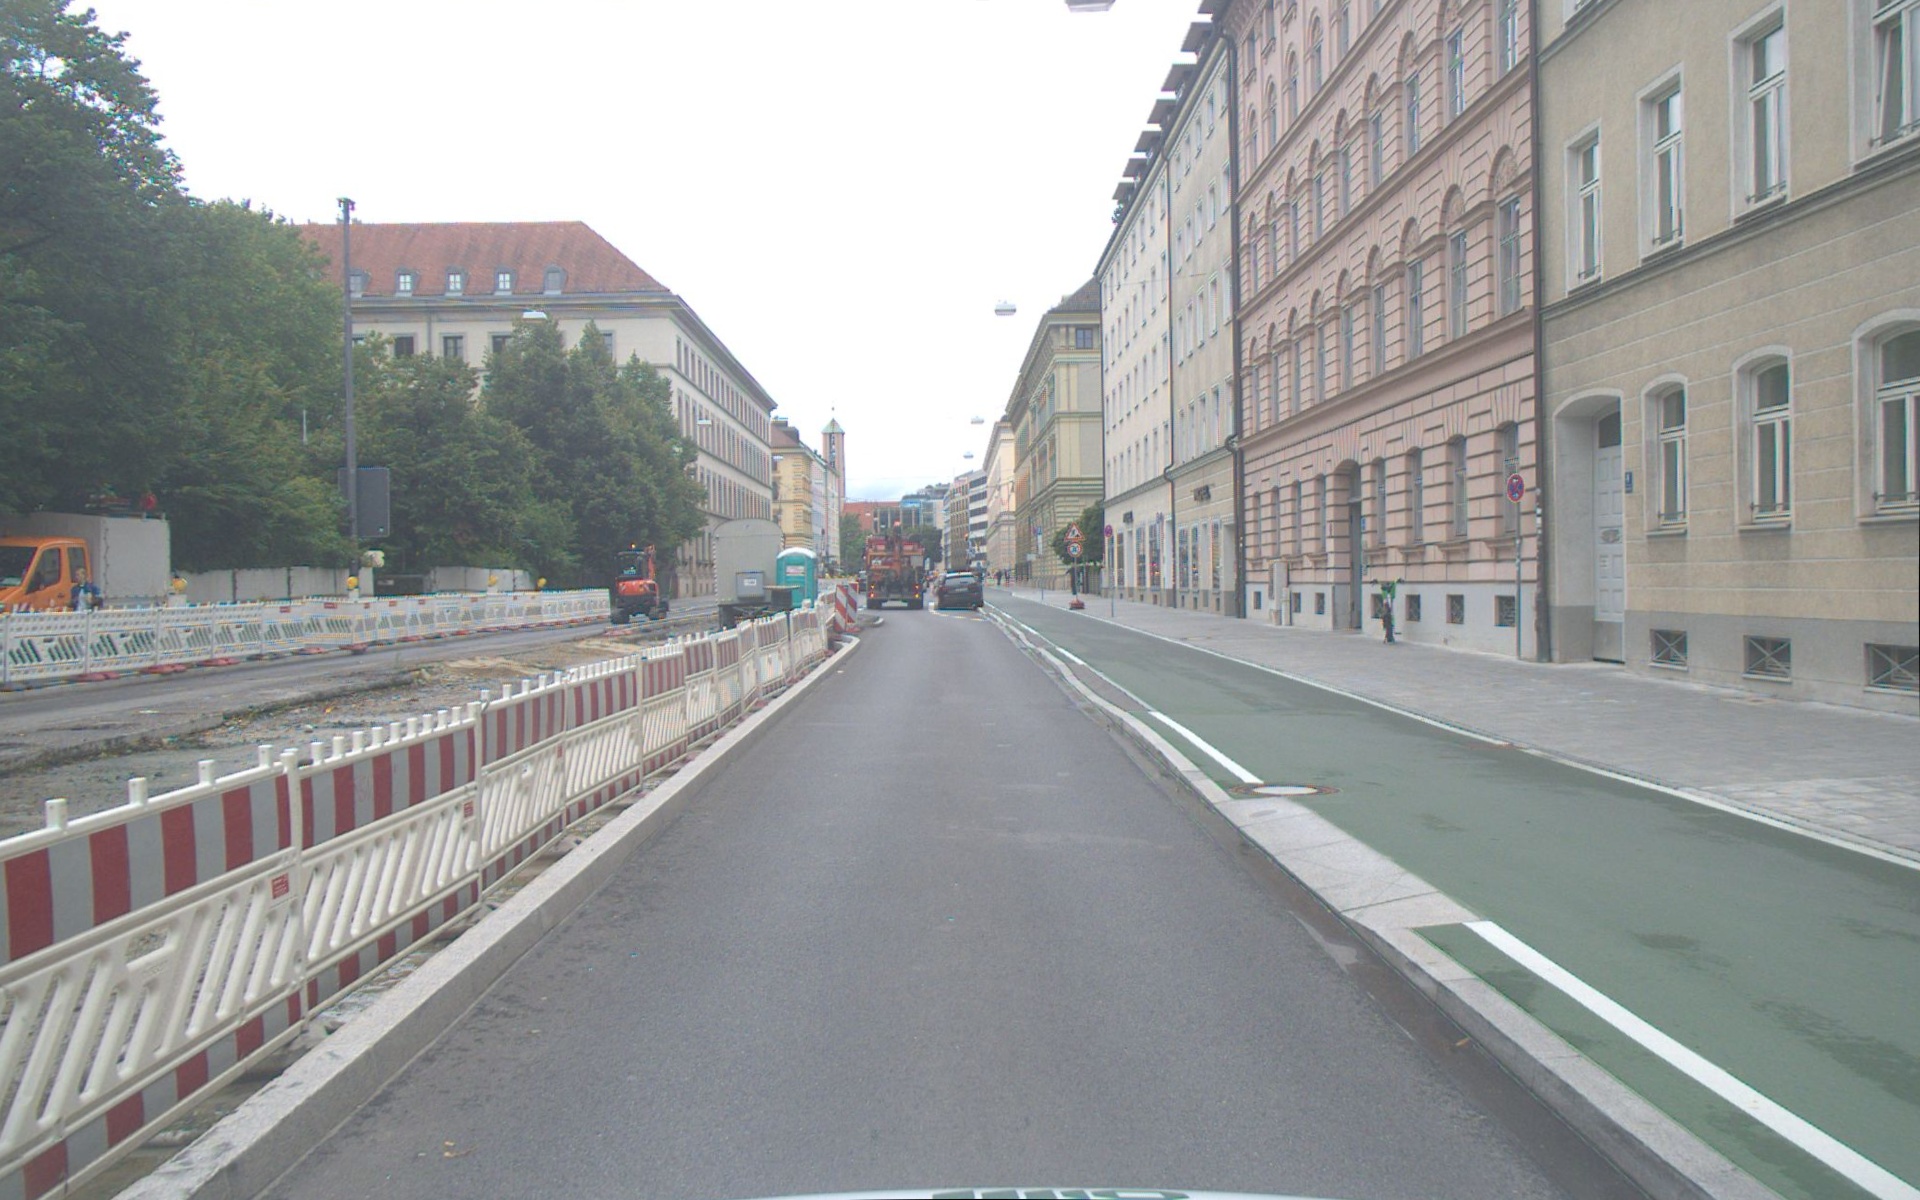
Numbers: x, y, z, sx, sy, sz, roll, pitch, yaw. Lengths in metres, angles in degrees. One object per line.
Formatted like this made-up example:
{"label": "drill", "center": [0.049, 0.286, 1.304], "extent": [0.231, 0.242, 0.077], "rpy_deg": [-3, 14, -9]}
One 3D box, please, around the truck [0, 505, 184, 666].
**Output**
{"label": "truck", "center": [-17.192, -0.306, 31.564], "extent": [1.953, 2.776, 5.870], "rpy_deg": [-1, 1, 0]}

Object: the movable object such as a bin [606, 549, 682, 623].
{"label": "movable object such as a bin", "center": [-11.557, -0.547, 60.767], "extent": [1.884, 2.616, 4.493], "rpy_deg": [0, 1, 0]}

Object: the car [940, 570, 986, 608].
{"label": "car", "center": [0.098, -0.485, 69.525], "extent": [1.765, 1.505, 4.686], "rpy_deg": [-1, 1, -2]}

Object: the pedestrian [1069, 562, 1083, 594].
{"label": "pedestrian", "center": [6.897, -1.307, 98.200], "extent": [0.774, 1.868, 0.777], "rpy_deg": [-1, 1, 0]}

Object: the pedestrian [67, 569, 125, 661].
{"label": "pedestrian", "center": [-15.586, 0.265, 29.840], "extent": [0.649, 1.631, 0.698], "rpy_deg": [0, 1, 0]}

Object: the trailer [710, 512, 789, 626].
{"label": "trailer", "center": [-6.582, -0.974, 52.409], "extent": [2.184, 3.300, 7.511], "rpy_deg": [-1, 1, -5]}

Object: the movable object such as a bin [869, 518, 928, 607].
{"label": "movable object such as a bin", "center": [-2.634, -1.604, 71.234], "extent": [2.374, 3.674, 5.849], "rpy_deg": [-1, 1, -2]}

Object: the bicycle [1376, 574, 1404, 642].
{"label": "bicycle", "center": [7.918, 0.123, 30.438], "extent": [0.417, 1.194, 1.733], "rpy_deg": [-1, 1, 16]}
